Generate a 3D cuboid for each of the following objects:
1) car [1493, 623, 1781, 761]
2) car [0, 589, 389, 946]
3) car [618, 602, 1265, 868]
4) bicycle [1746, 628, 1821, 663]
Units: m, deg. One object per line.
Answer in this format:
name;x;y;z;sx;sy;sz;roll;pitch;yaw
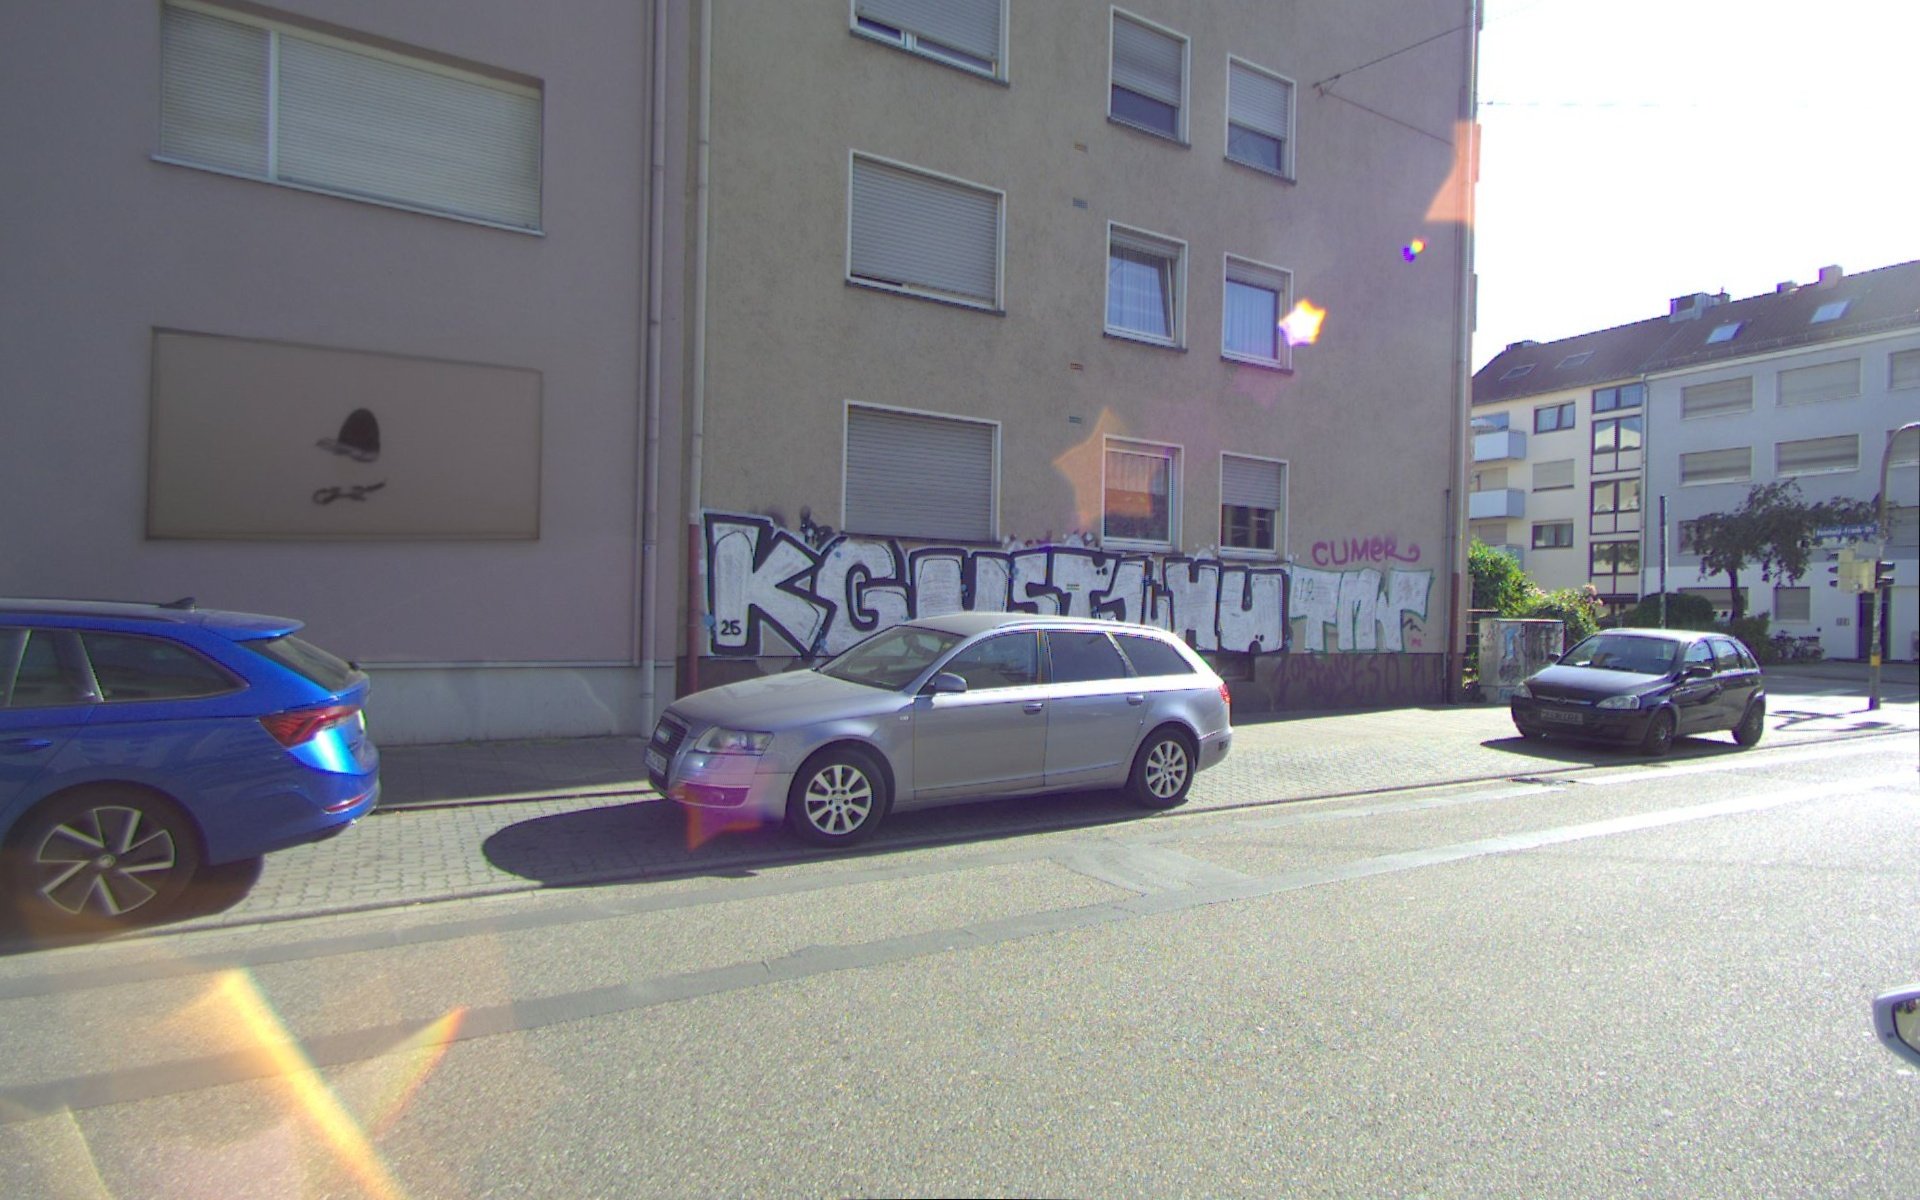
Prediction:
car;8.689;1.082;12.841;3.667;1.444;1.608;1;2;-31
car;-5.289;0.711;4.668;4.559;1.485;1.708;1;2;-31
car;0.008;0.829;7.739;4.759;1.485;1.708;1;1;-31
bicycle;29.869;1.634;36.479;2.068;1.188;0.738;0;-1;37
